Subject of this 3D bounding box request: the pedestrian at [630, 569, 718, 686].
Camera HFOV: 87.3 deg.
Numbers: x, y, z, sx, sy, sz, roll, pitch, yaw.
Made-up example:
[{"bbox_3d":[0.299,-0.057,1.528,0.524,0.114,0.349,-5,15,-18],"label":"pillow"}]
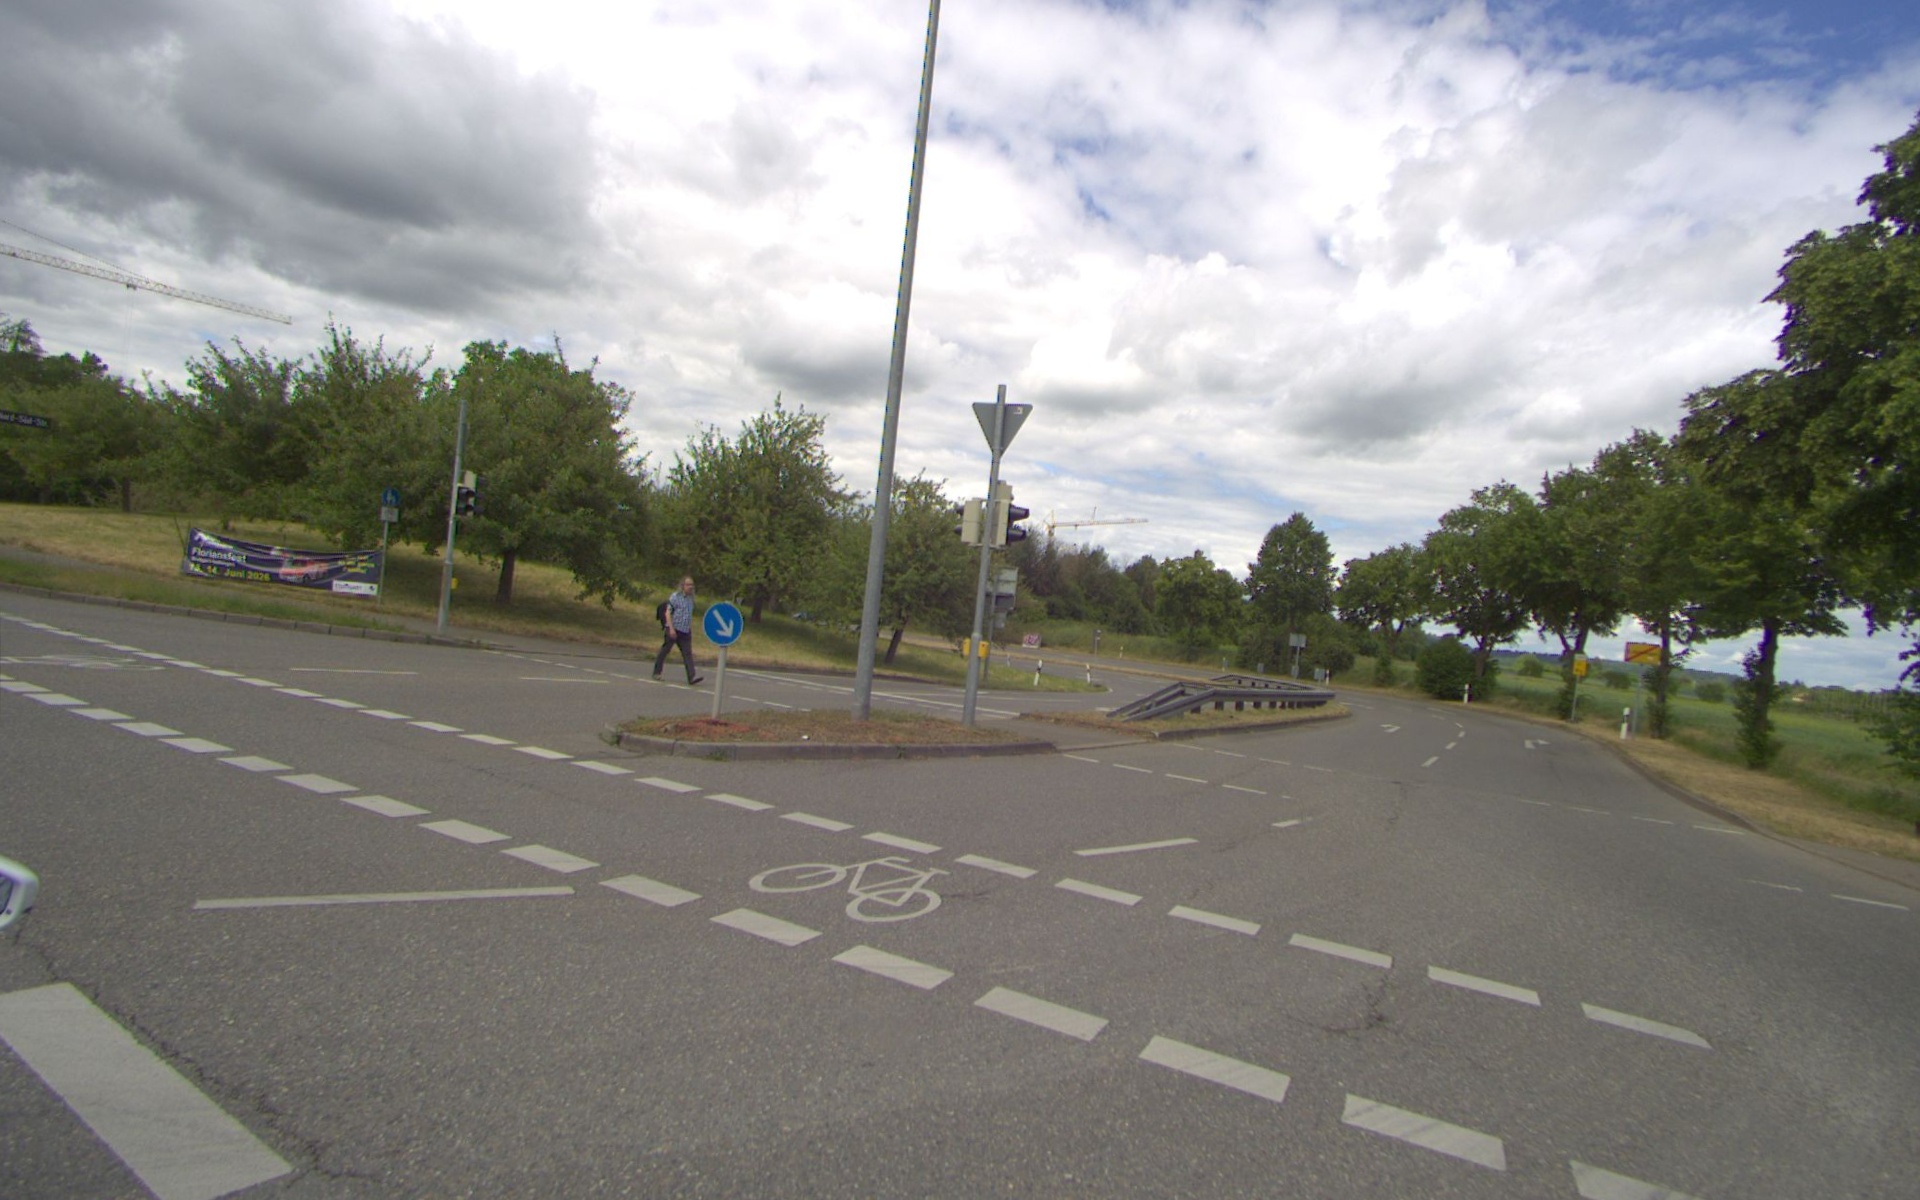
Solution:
[{"bbox_3d":[-4.788,0.467,16.852,1.026,1.814,0.719,6,-1,32],"label":"pedestrian"}]
